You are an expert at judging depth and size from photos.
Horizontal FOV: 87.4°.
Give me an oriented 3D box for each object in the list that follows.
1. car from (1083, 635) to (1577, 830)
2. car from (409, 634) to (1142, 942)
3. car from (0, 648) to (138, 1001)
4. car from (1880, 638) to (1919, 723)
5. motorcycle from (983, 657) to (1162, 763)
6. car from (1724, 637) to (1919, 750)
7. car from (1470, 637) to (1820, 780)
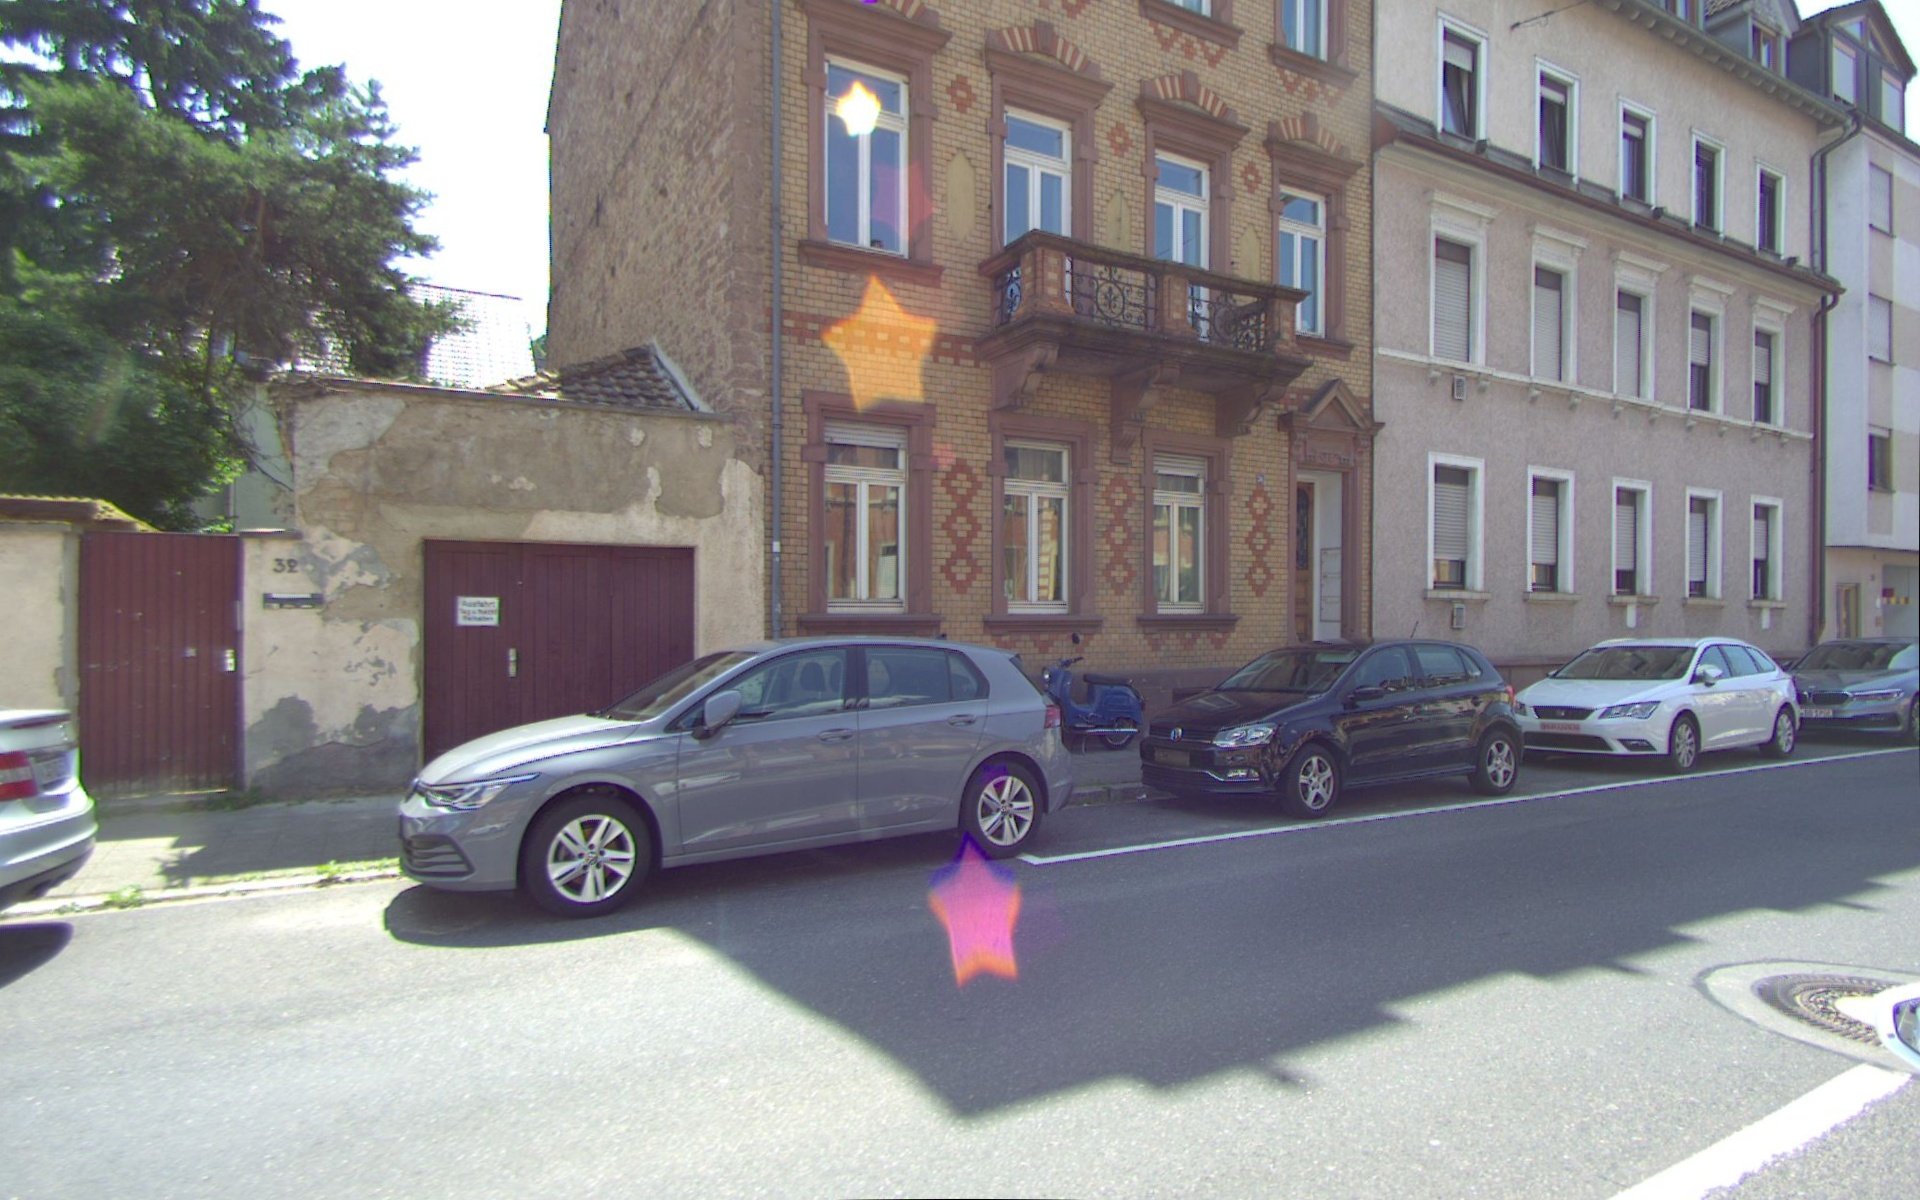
[{"bbox_3d":[3.511,1.097,9.384,4.447,1.440,1.833,1,-5,-29],"label":"car"},{"bbox_3d":[-1.100,1.015,6.717,4.452,1.440,1.831,1,-6,-32],"label":"car"},{"bbox_3d":[-6.201,0.929,3.843,4.450,1.441,1.831,1,-4,-31],"label":"car"},{"bbox_3d":[18.388,1.366,17.678,4.502,1.441,1.833,1,-4,-29],"label":"car"},{"bbox_3d":[1.265,1.187,11.203,1.911,1.067,0.710,1,-1,-27],"label":"motorcycle"},{"bbox_3d":[13.420,1.291,14.856,4.594,1.441,1.830,1,-4,-32],"label":"car"},{"bbox_3d":[8.309,1.187,12.090,4.452,1.441,1.830,1,-4,-32],"label":"car"}]
